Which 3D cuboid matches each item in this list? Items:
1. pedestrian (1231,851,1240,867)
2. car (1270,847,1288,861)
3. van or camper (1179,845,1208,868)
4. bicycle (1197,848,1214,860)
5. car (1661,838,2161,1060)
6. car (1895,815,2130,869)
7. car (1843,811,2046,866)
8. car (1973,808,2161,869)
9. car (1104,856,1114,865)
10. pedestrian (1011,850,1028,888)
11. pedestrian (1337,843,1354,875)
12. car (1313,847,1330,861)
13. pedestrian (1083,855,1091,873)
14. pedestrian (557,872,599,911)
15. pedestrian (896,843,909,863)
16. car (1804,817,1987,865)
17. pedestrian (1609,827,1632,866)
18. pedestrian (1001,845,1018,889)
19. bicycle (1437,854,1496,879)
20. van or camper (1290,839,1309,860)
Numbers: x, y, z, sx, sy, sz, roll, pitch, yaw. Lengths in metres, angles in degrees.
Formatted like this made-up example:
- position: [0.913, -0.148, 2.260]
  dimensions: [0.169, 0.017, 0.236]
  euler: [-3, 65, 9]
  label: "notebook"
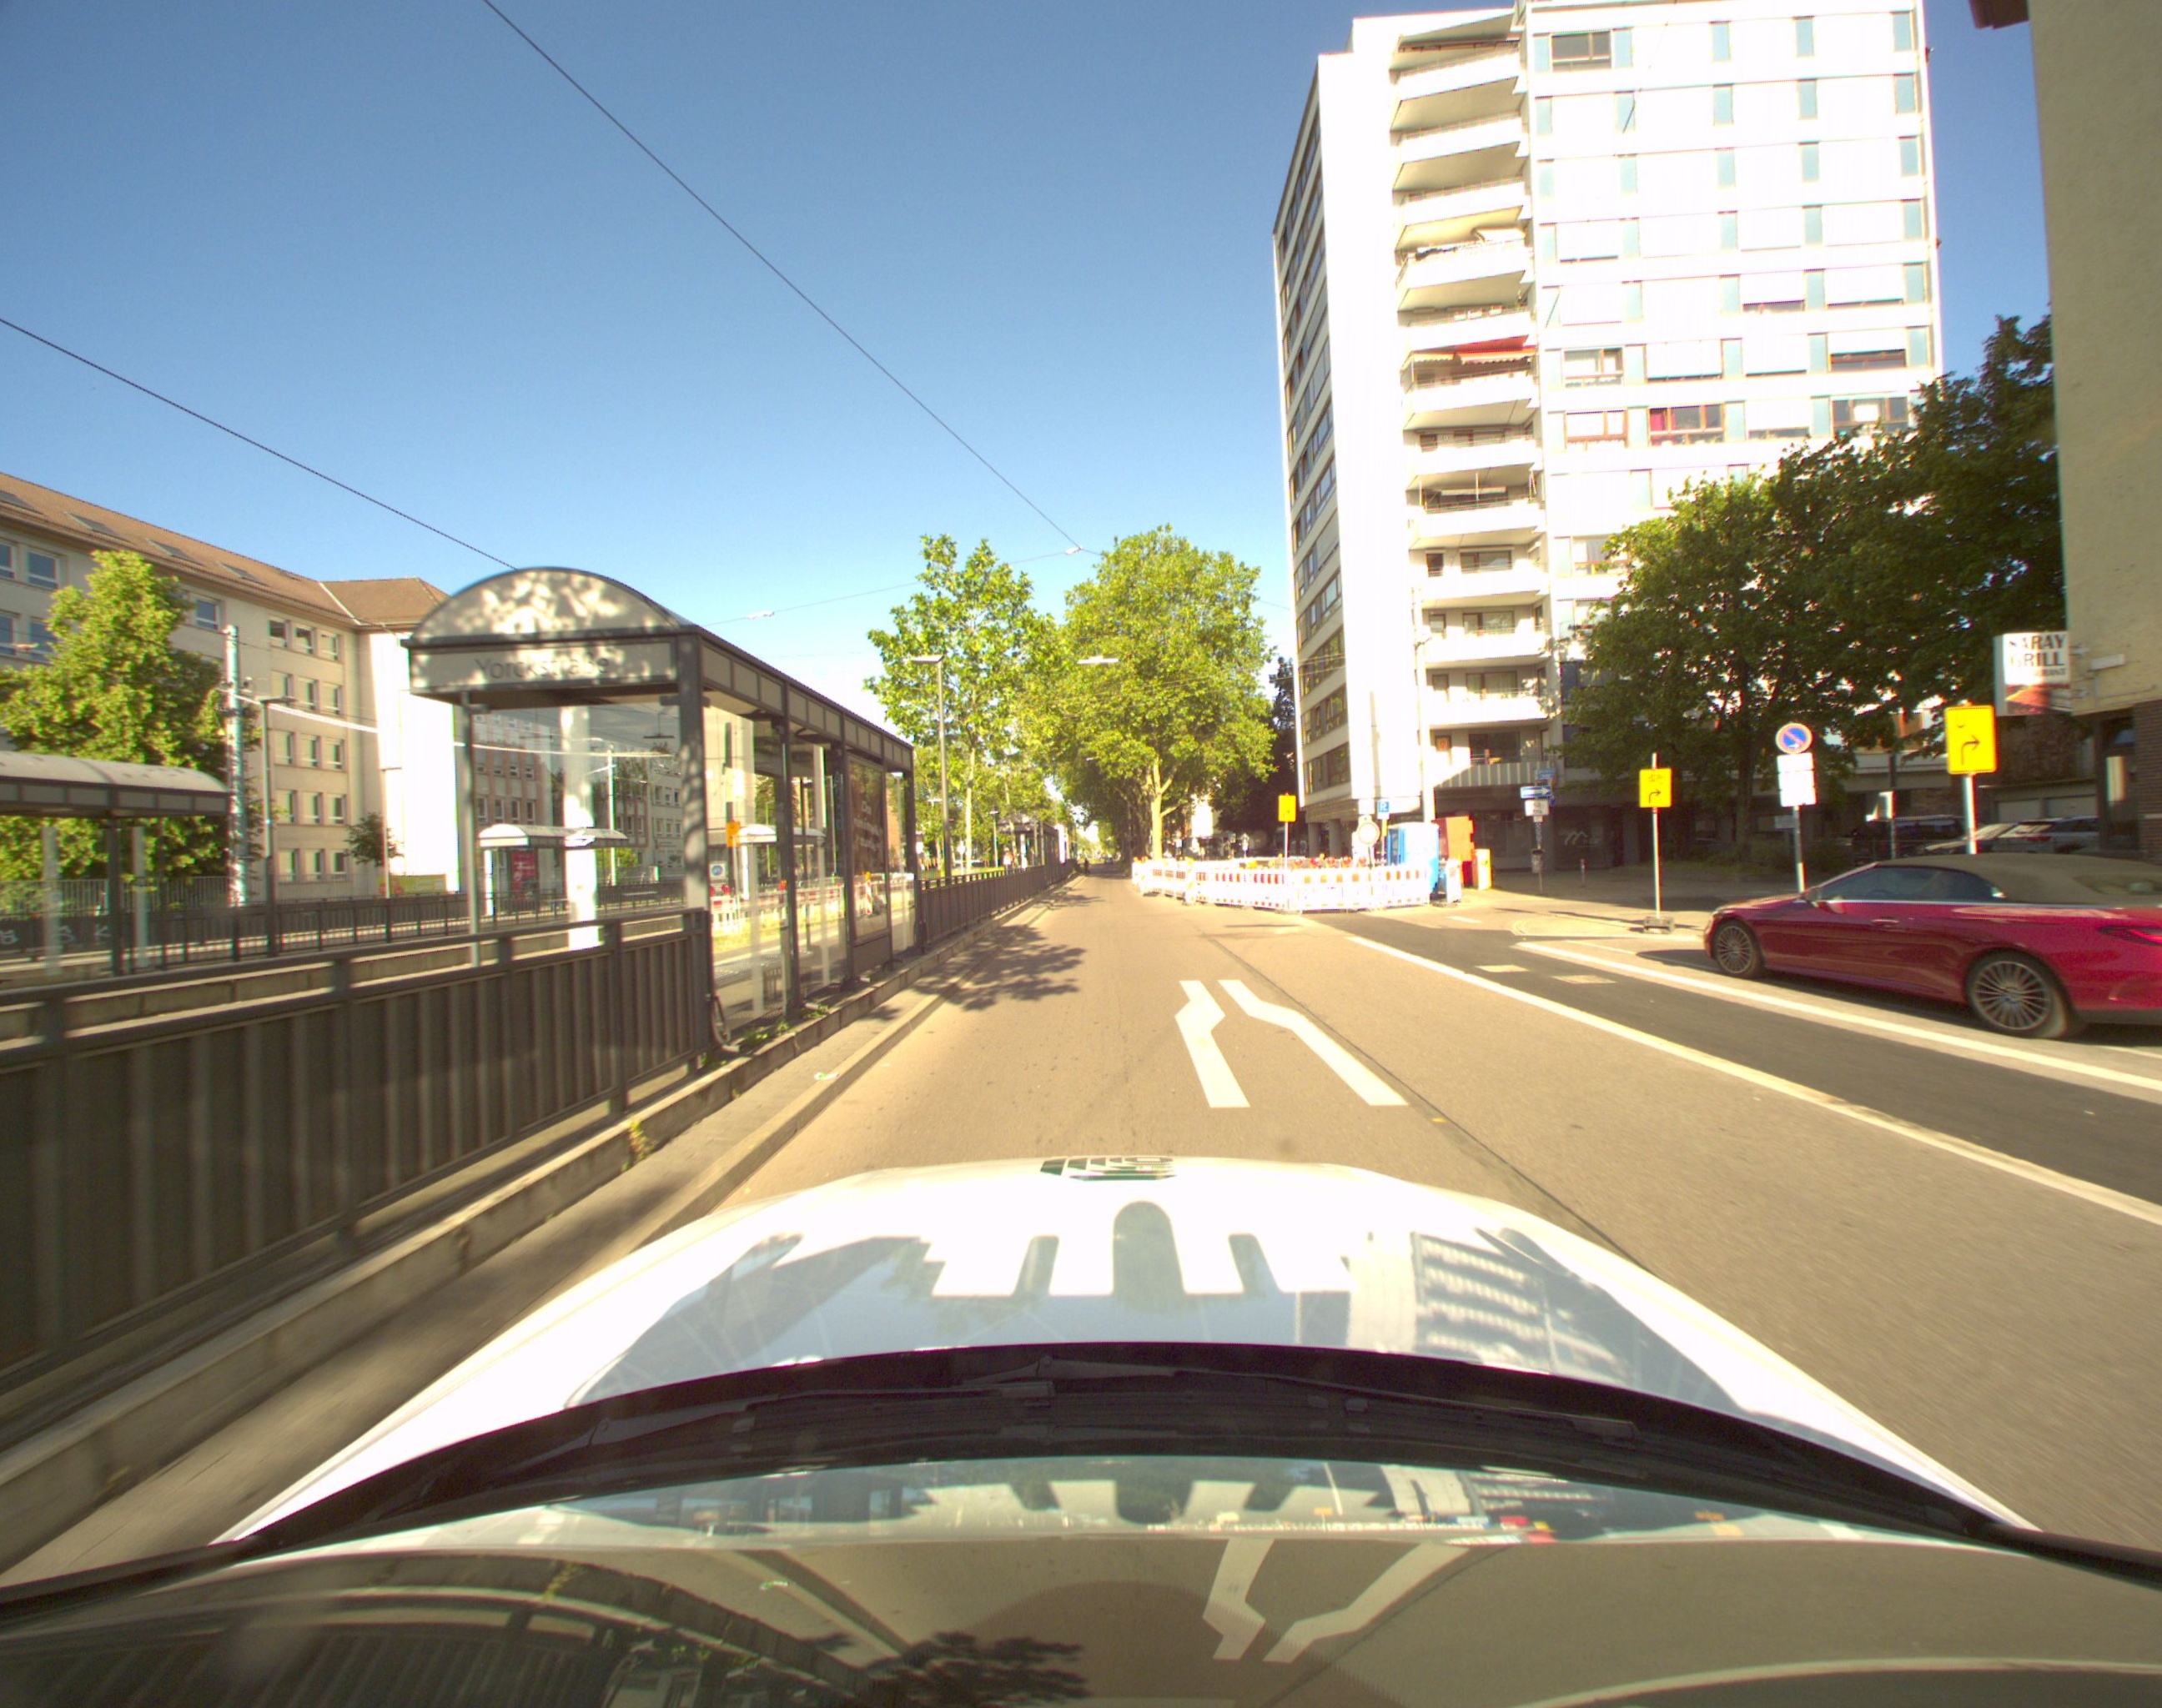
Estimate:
- position: [16.603, 0.552, 87.366]
  dimensions: [0.729, 1.616, 1.036]
  euler: [-2, -1, 2]
  label: "pedestrian"
- position: [26.068, -0.001, 107.170]
  dimensions: [1.978, 1.628, 4.409]
  euler: [-3, 0, 17]
  label: "car"
- position: [11.899, 0.271, 86.440]
  dimensions: [2.282, 2.286, 5.824]
  euler: [-2, 0, 2]
  label: "van or camper"
- position: [12.735, 0.006, 83.331]
  dimensions: [1.600, 1.263, 0.962]
  euler: [-2, 0, -3]
  label: "bicycle"
- position: [8.250, 0.627, 7.795]
  dimensions: [1.864, 1.443, 5.162]
  euler: [-2, 0, 3]
  label: "car"
- position: [28.221, -0.339, 24.886]
  dimensions: [4.231, 1.418, 2.103]
  euler: [-2, 0, 17]
  label: "car"
- position: [29.156, -0.496, 27.706]
  dimensions: [4.185, 1.605, 2.165]
  euler: [-2, 0, 17]
  label: "car"
- position: [27.986, -0.448, 22.305]
  dimensions: [4.326, 1.485, 2.001]
  euler: [-3, 0, 20]
  label: "car"
- position: [5.743, 1.358, 167.450]
  dimensions: [2.014, 1.662, 4.001]
  euler: [-2, 0, 1]
  label: "car"
- position: [-2.993, 0.724, 39.584]
  dimensions: [0.679, 1.784, 0.755]
  euler: [-2, 0, 3]
  label: "pedestrian"
- position: [15.147, 0.294, 46.661]
  dimensions: [0.687, 1.815, 0.666]
  euler: [-3, -1, 1]
  label: "pedestrian"
- position: [31.281, 0.029, 105.910]
  dimensions: [1.978, 1.669, 4.766]
  euler: [-3, 0, 17]
  label: "car"
- position: [0.580, 0.995, 79.424]
  dimensions: [0.709, 1.680, 0.772]
  euler: [-2, 0, 0]
  label: "pedestrian"
- position: [-19.081, 1.414, 30.912]
  dimensions: [0.971, 1.376, 0.879]
  euler: [-2, 0, 1]
  label: "pedestrian"
- position: [-16.092, -0.087, 73.340]
  dimensions: [0.949, 1.736, 0.731]
  euler: [-2, 0, 4]
  label: "pedestrian"
- position: [30.173, -0.456, 30.336]
  dimensions: [4.446, 1.523, 1.849]
  euler: [-2, 0, 17]
  label: "car"
- position: [25.694, -0.340, 38.777]
  dimensions: [0.652, 1.854, 0.679]
  euler: [0, -1, 3]
  label: "pedestrian"
- position: [-3.363, 0.602, 38.220]
  dimensions: [0.665, 2.013, 0.717]
  euler: [-2, 0, 3]
  label: "pedestrian"
- position: [15.208, 0.493, 32.171]
  dimensions: [2.011, 0.943, 1.023]
  euler: [-2, 0, 21]
  label: "bicycle"
- position: [28.677, -0.553, 106.771]
  dimensions: [2.130, 2.636, 5.613]
  euler: [-3, 0, 17]
  label: "van or camper"
